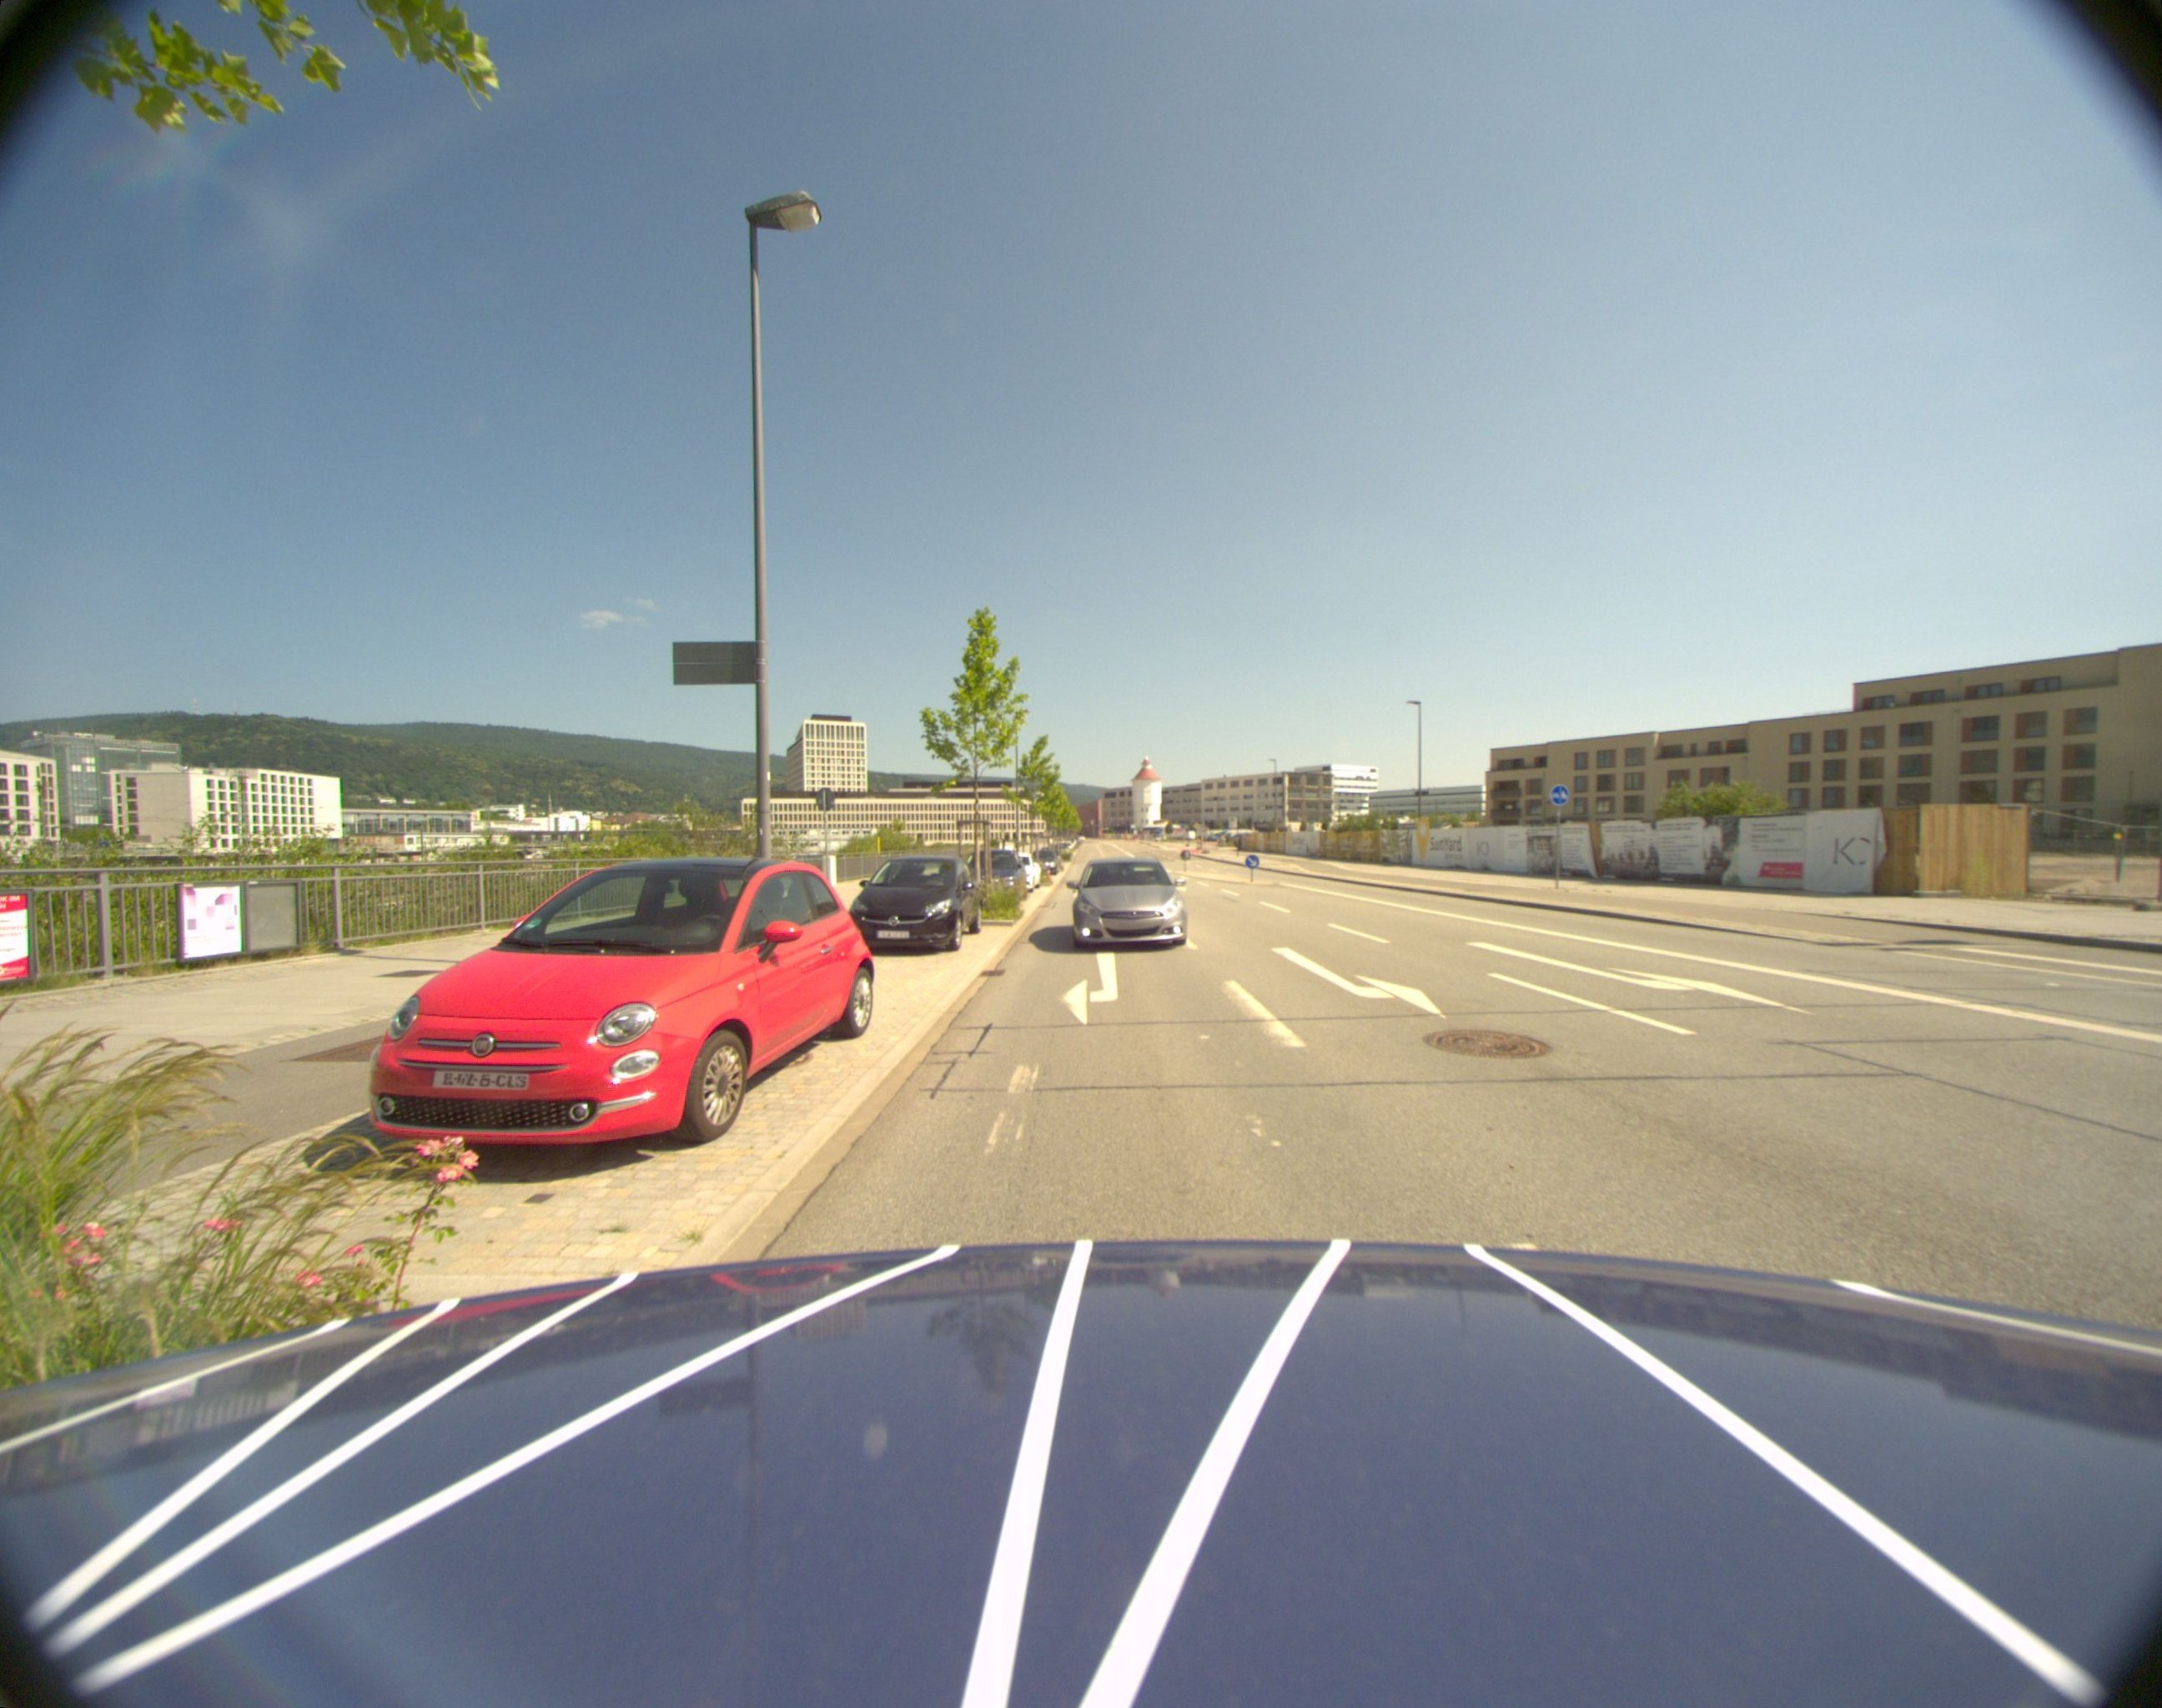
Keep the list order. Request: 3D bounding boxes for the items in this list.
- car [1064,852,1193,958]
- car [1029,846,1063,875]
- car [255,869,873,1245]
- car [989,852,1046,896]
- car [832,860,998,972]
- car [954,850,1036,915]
[{"bbox_3d":[0.736,0.720,12.904,1.784,1.372,4.135,-2,1,2],"label":"car"},{"bbox_3d":[-2.009,0.374,44.874,1.664,1.530,3.999,-2,1,2],"label":"car"},{"bbox_3d":[-2.695,0.900,4.940,1.614,1.488,3.352,1,1,3],"label":"car"},{"bbox_3d":[-2.381,0.708,29.355,1.664,1.447,3.999,-2,1,2],"label":"car"},{"bbox_3d":[-2.630,0.914,13.009,1.664,1.418,4.000,2,2,4],"label":"car"},{"bbox_3d":[-2.425,0.753,22.469,1.769,1.598,4.237,-2,1,2],"label":"car"}]
